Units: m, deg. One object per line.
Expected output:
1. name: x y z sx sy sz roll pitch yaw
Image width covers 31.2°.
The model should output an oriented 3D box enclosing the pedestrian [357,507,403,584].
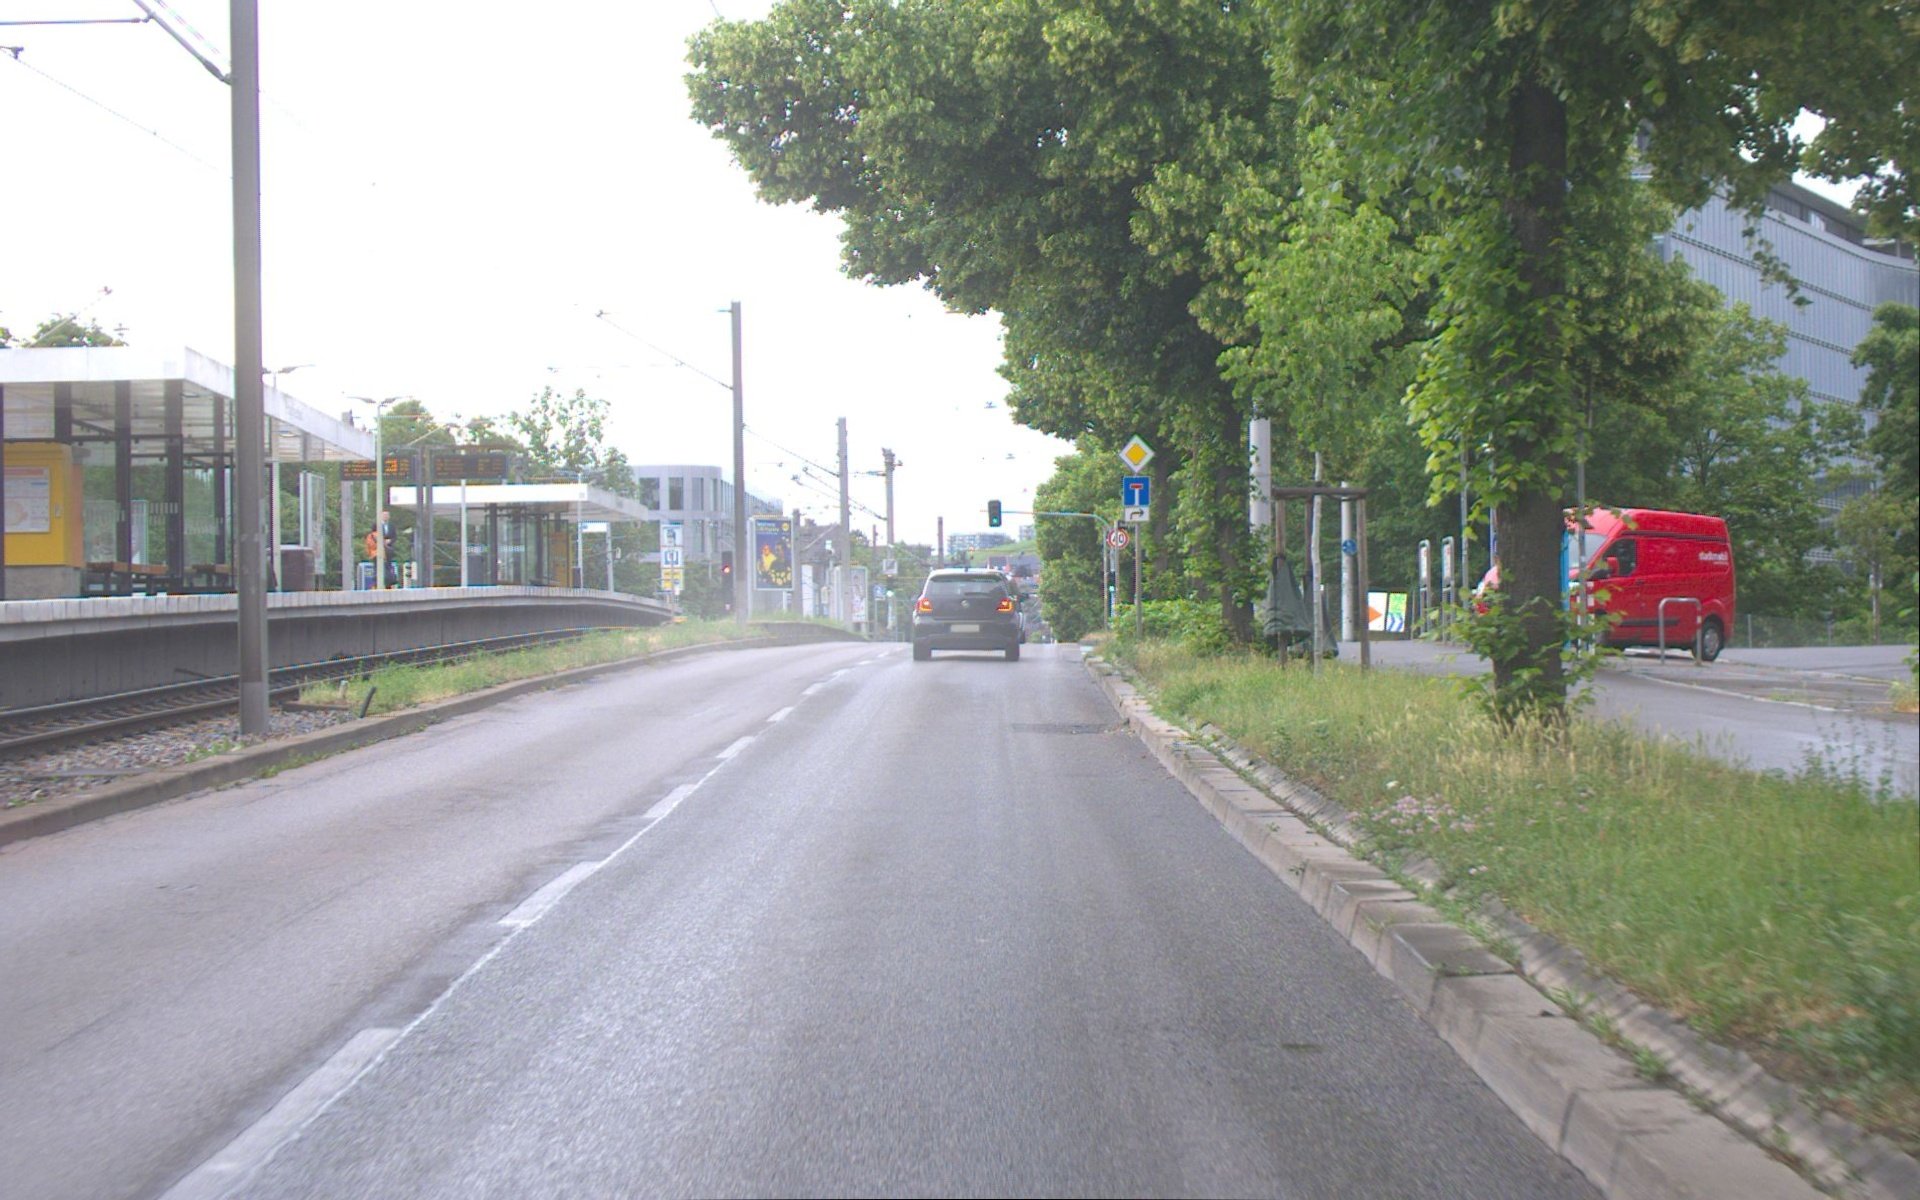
1. pedestrian: -12.591 -1.190 74.611 0.794 1.641 0.919 1 2 -20

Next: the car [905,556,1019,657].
1. car: 0.047 0.069 54.586 1.727 1.535 4.000 0 1 1

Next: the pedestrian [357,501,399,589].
1. pedestrian: -12.793 -1.208 75.539 0.743 1.903 0.842 1 2 -20

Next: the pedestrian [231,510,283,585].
1. pedestrian: -11.526 -0.853 56.362 0.710 1.221 0.619 0 0 1

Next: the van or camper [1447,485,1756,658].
1. van or camper: 10.147 -0.412 54.108 2.040 2.398 5.377 4 1 44
